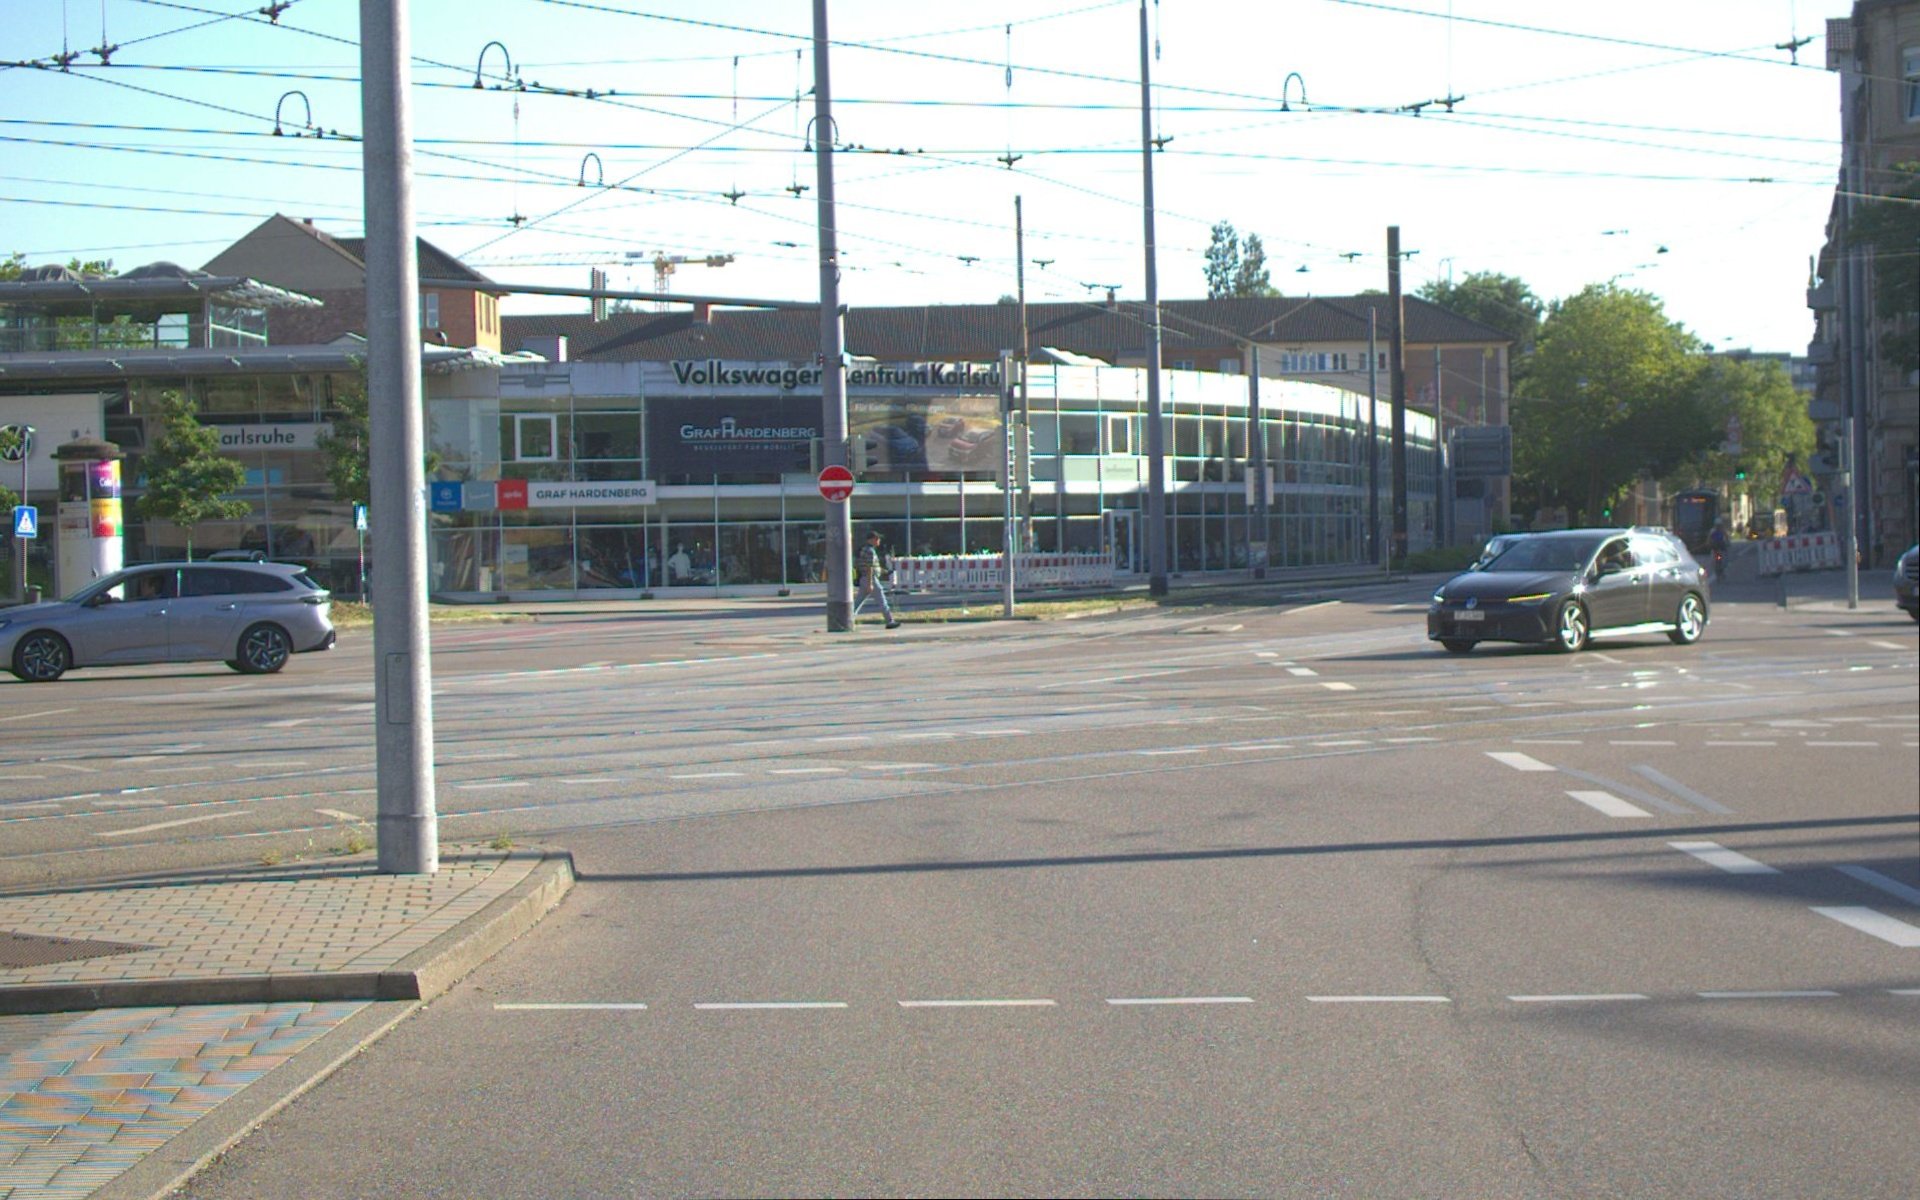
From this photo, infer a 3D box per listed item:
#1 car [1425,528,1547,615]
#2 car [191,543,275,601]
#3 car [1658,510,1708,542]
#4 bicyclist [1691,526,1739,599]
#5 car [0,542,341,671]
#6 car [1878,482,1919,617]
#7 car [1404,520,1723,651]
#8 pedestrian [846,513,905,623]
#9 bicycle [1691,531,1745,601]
[{"bbox_3d":[10.074,-0.576,66.114,1.947,1.588,4.616,-1,1,4],"label":"car"},{"bbox_3d":[-21.274,-0.842,100.758,1.993,1.529,4.001,0,3,-6],"label":"car"},{"bbox_3d":[39.405,-4.026,187.398,1.801,1.650,3.918,0,3,-2],"label":"car"},{"bbox_3d":[19.967,-0.999,90.919,1.120,1.894,1.073,1,3,17],"label":"bicyclist"},{"bbox_3d":[-10.347,0.064,43.707,4.543,1.512,1.954,-1,1,-22],"label":"car"},{"bbox_3d":[15.603,-0.768,49.479,4.835,1.887,1.953,-2,1,-35],"label":"car"},{"bbox_3d":[7.415,-0.201,42.023,1.952,1.481,4.093,0,1,42],"label":"car"},{"bbox_3d":[-1.419,-0.547,57.558,0.989,1.810,0.920,0,3,-2],"label":"pedestrian"},{"bbox_3d":[20.066,-0.921,90.943,1.136,1.684,3.997,1,3,16],"label":"bicycle"}]
